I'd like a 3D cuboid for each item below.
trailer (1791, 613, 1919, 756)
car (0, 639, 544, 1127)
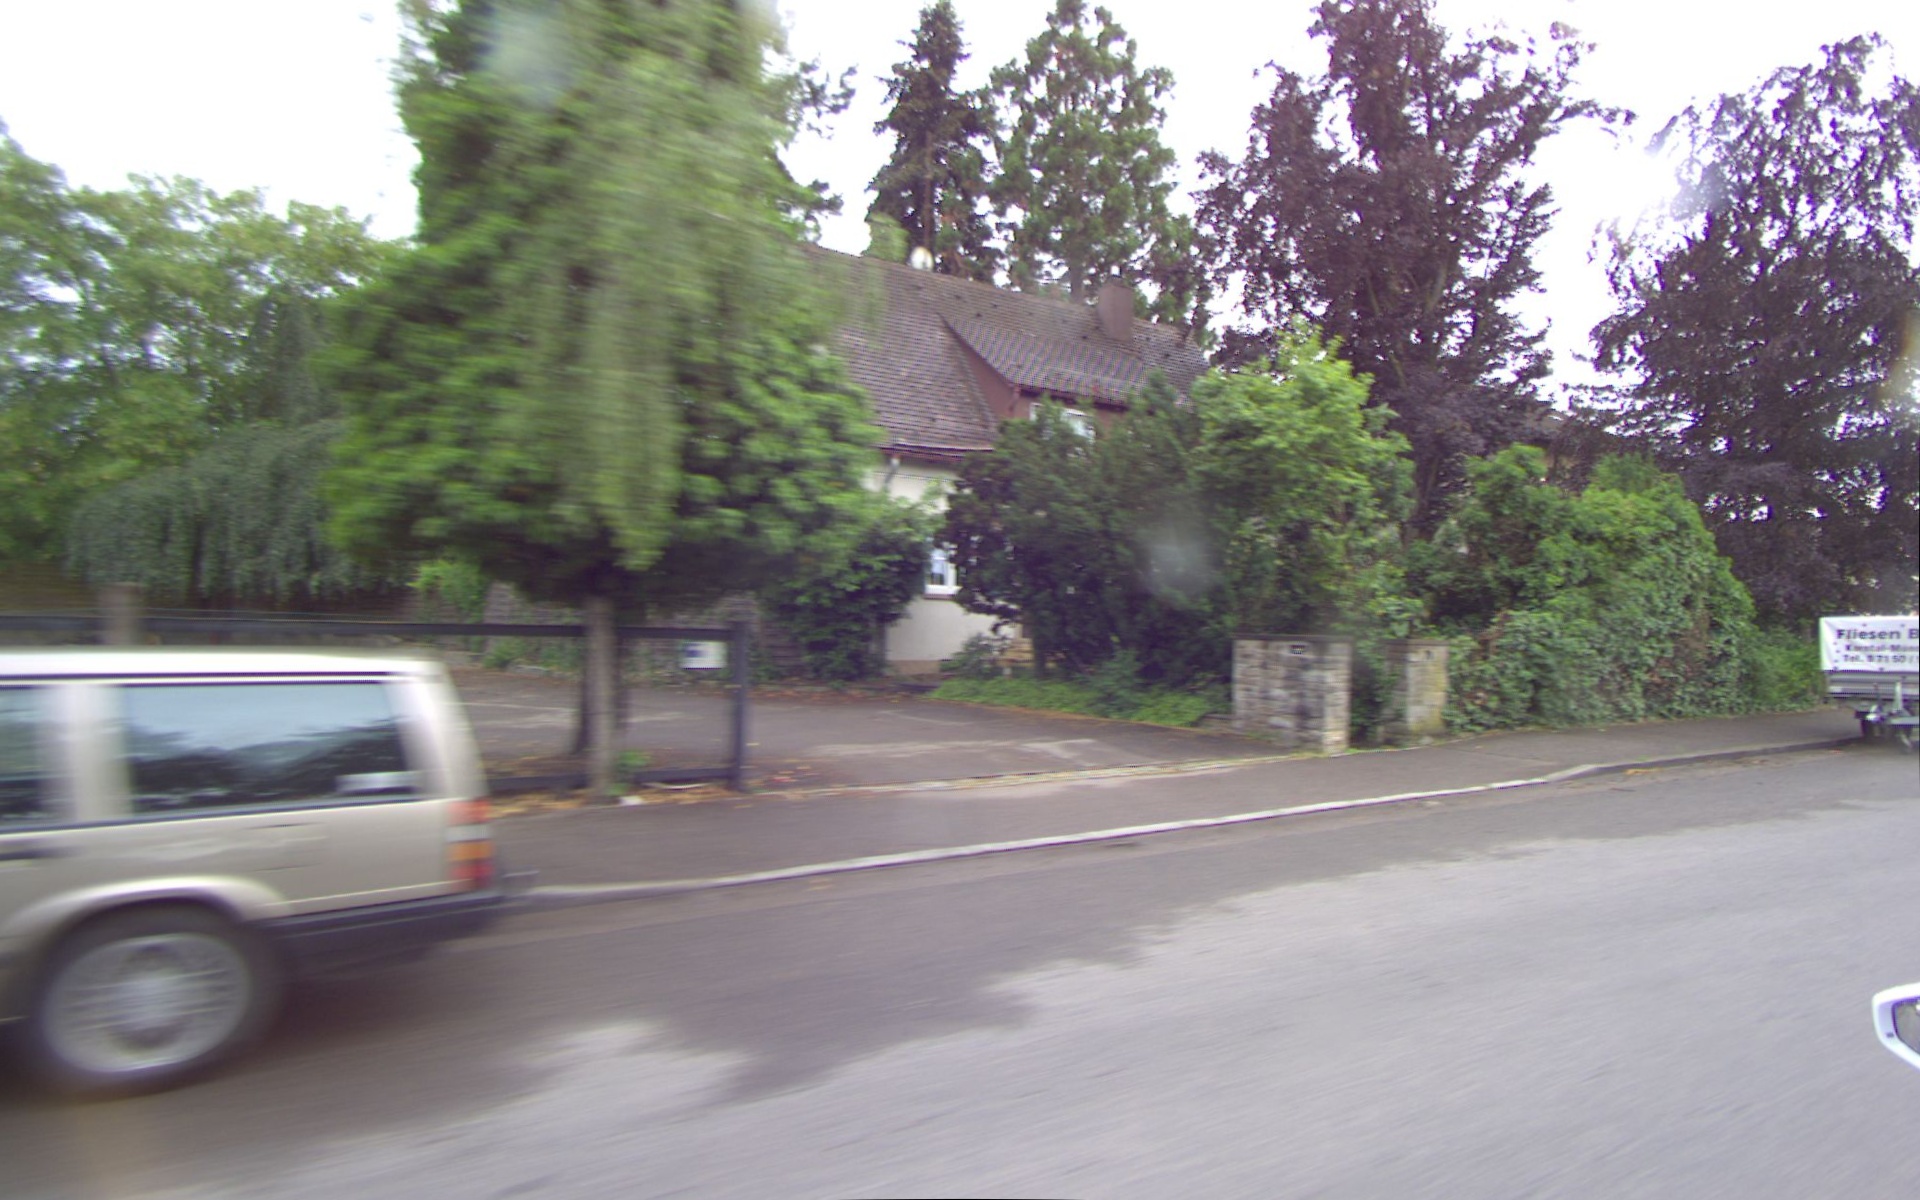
[{"bbox_3d":[13.917,1.119,14.178,4.494,1.789,1.921,1,0,-30],"label":"trailer"},{"bbox_3d":[-4.131,0.851,3.307,4.922,1.446,1.808,1,-3,-30],"label":"car"}]
